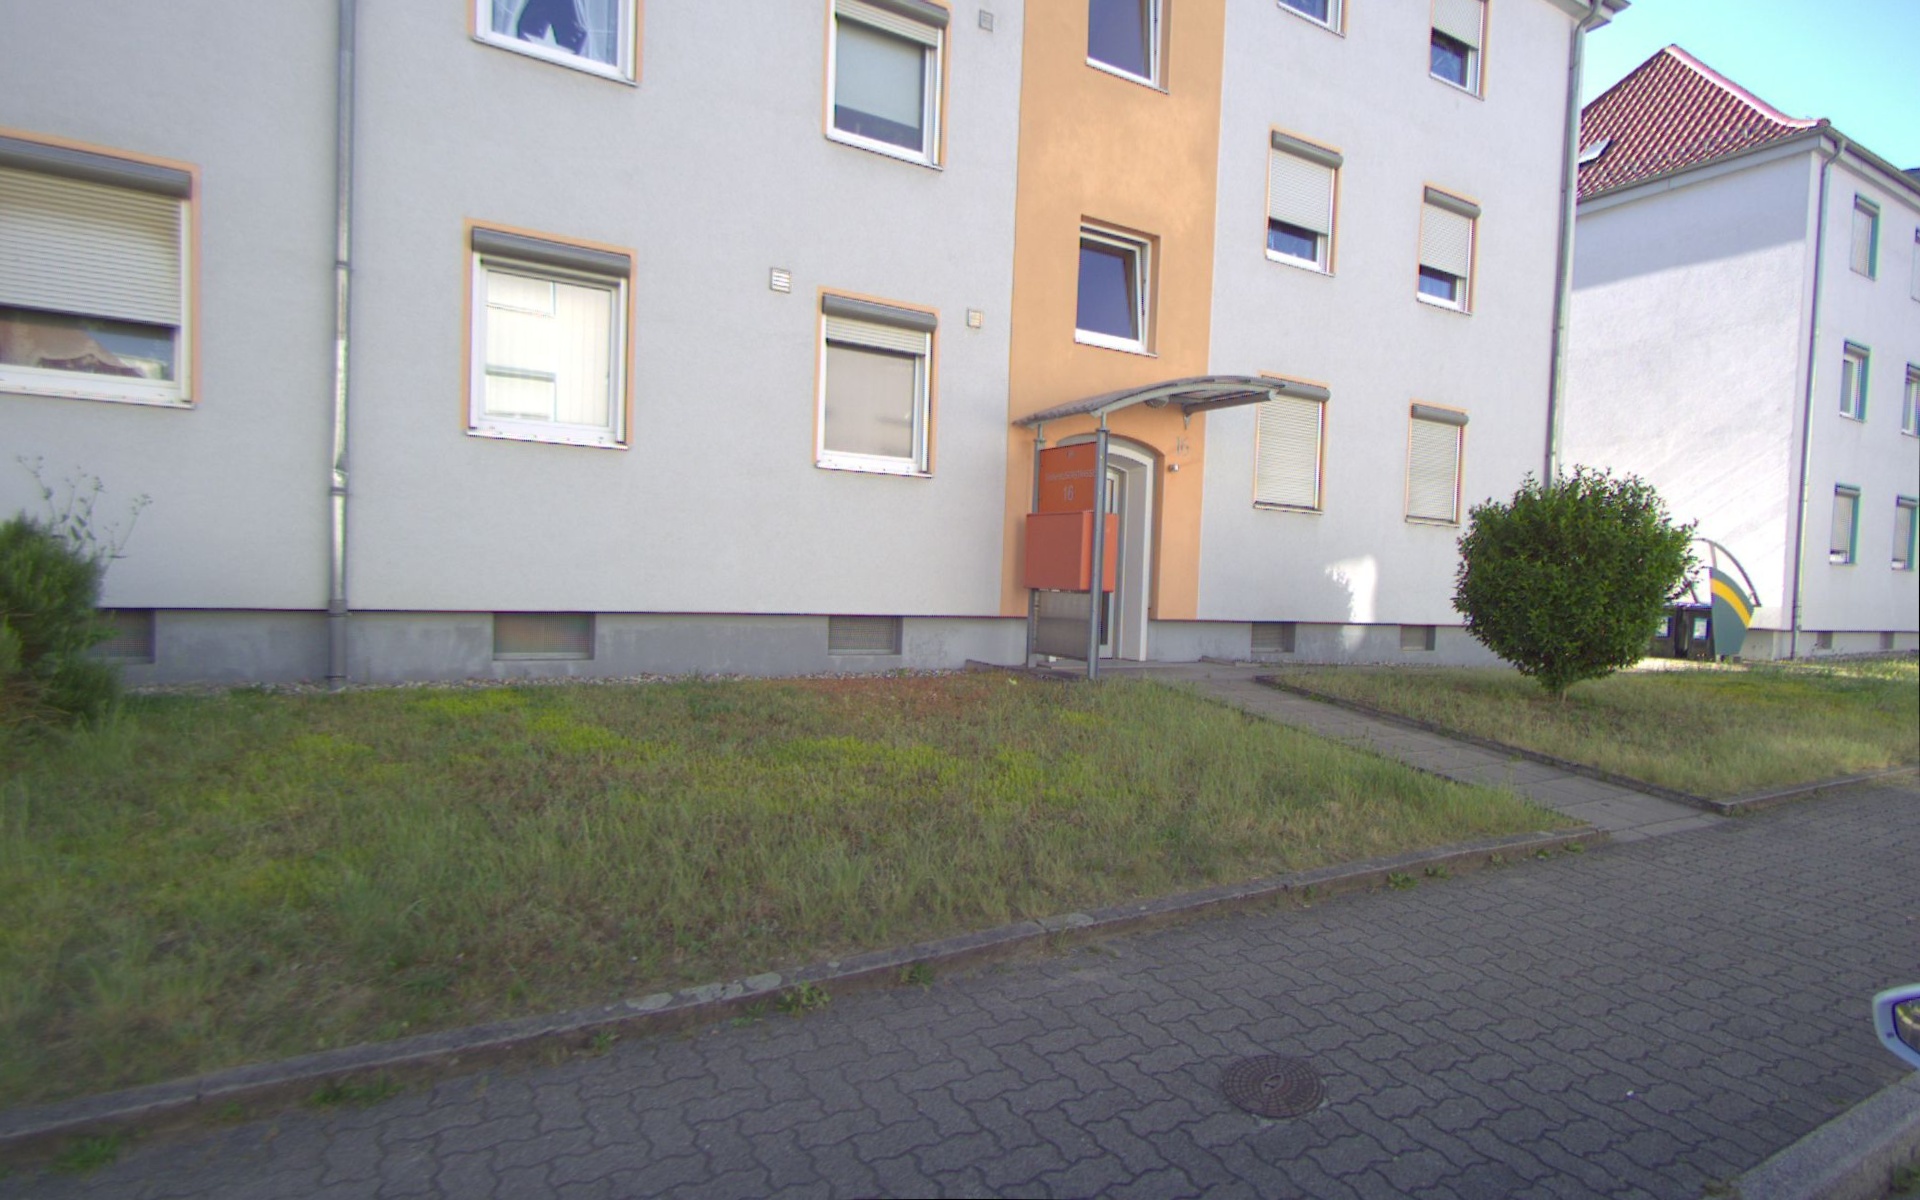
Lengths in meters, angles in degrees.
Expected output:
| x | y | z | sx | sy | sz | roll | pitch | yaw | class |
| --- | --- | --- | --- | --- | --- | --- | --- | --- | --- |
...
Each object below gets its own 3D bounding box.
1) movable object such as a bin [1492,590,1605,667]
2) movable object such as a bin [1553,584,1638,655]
| x | y | z | sx | sy | sz | roll | pitch | yaw | class |
| --- | --- | --- | --- | --- | --- | --- | --- | --- | --- |
| 9.722 | 0.449 | 16.625 | 0.899 | 1.184 | 1.307 | 0 | 2 | -30 | movable object such as a bin |
| 12.969 | 0.383 | 20.504 | 0.899 | 1.375 | 1.238 | 0 | 2 | -41 | movable object such as a bin |
